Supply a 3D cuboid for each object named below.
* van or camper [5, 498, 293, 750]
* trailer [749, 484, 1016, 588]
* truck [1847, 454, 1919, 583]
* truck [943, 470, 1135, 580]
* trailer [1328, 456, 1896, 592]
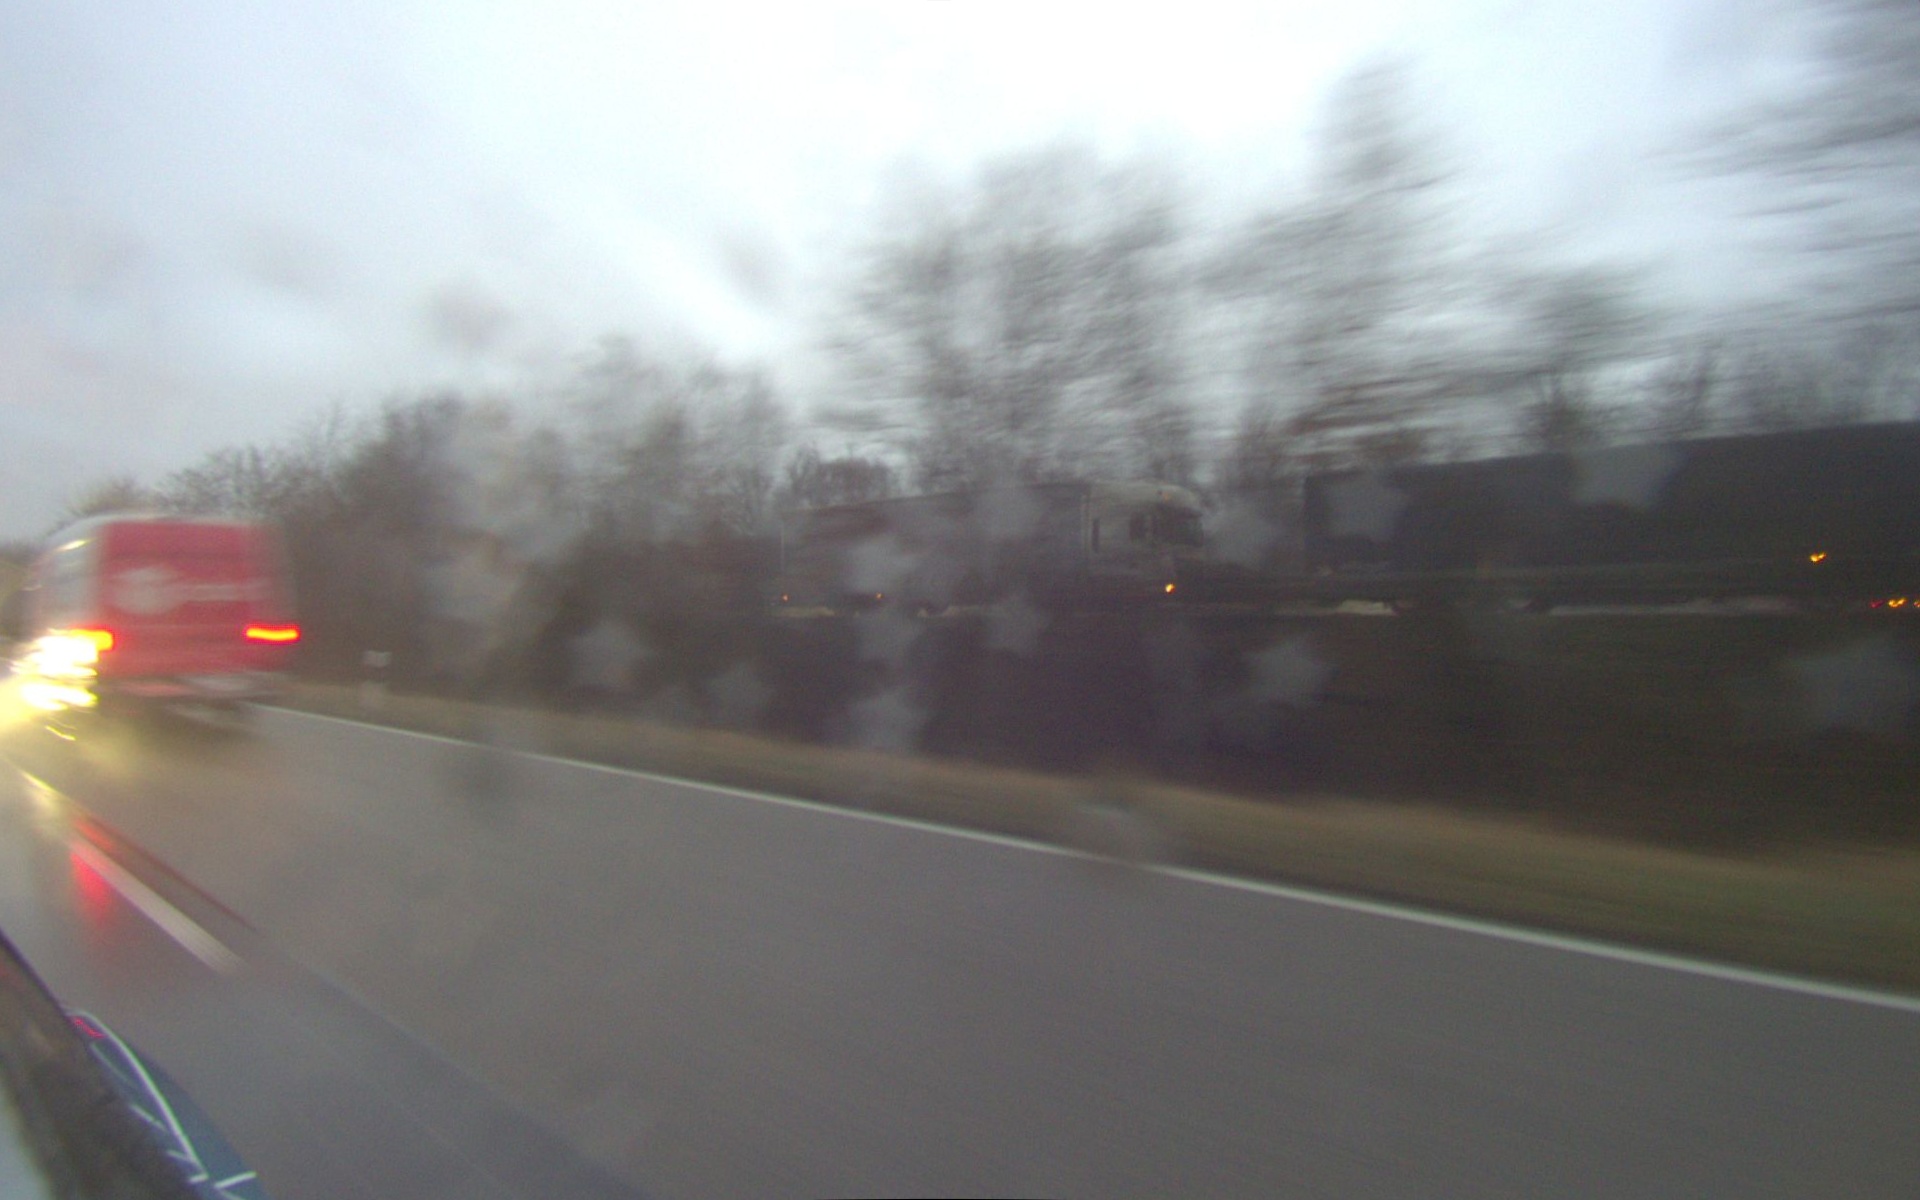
[{"bbox_3d":[-11.602,0.330,14.215,6.740,2.798,2.000,-1,-2,41],"label":"van or camper"},{"bbox_3d":[-3.127,-2.051,35.995,11.079,2.913,2.410,-1,-1,41],"label":"trailer"},{"bbox_3d":[20.641,-1.666,20.463,3.998,2.454,2.503,-1,-2,41],"label":"truck"},{"bbox_3d":[2.346,-2.165,31.232,5.580,2.909,2.424,-1,-1,41],"label":"truck"},{"bbox_3d":[15.313,-1.571,25.124,11.497,2.443,2.482,-1,-2,41],"label":"trailer"}]
